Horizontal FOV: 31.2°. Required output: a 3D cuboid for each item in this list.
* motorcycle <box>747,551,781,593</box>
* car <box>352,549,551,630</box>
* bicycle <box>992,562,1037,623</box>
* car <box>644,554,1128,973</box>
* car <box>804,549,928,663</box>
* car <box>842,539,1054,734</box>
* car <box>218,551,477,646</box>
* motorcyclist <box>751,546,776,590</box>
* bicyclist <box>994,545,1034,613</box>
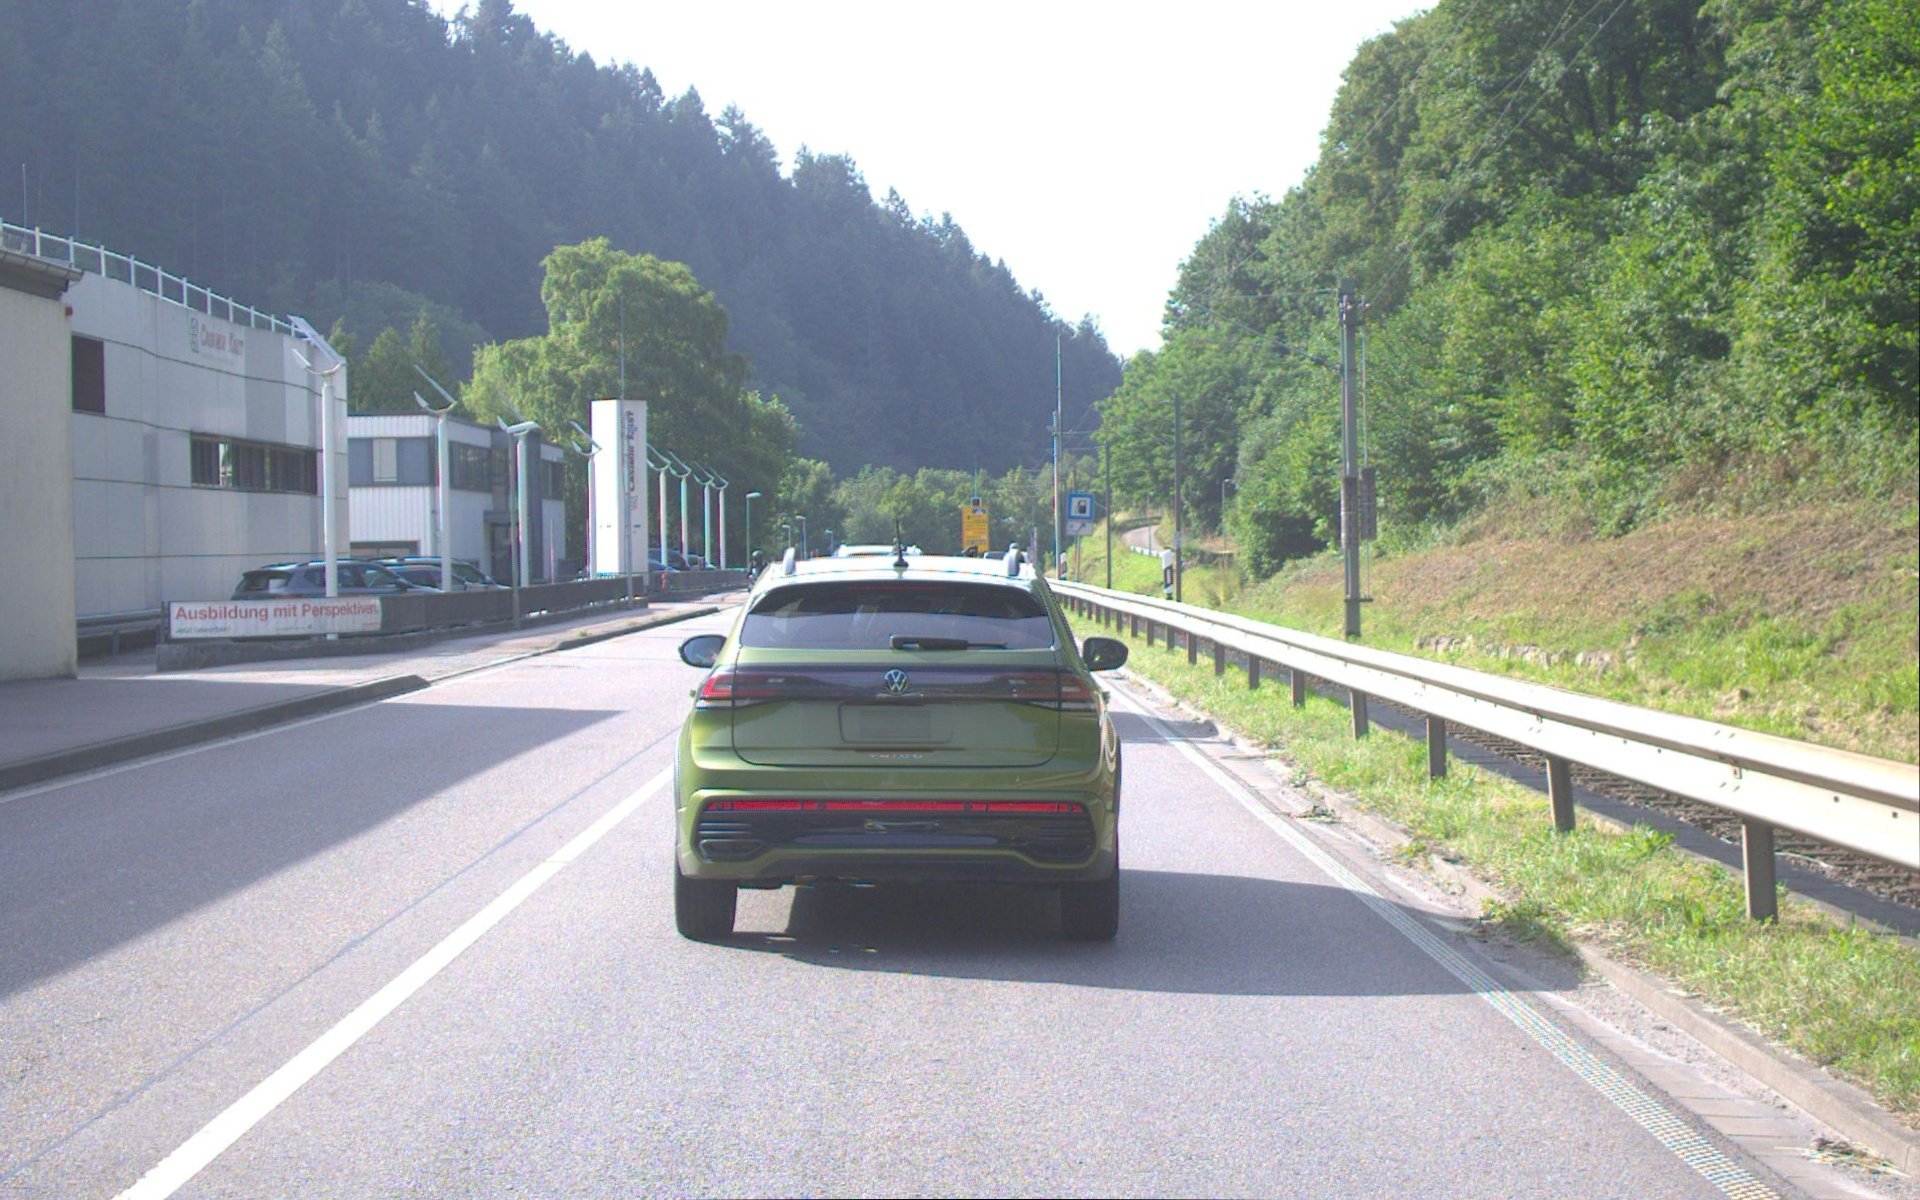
[{"bbox_3d":[-4.997,-0.727,87.705,0.741,1.065,2.492,0,1,0],"label":"motorcycle"},{"bbox_3d":[-11.050,-0.252,74.945,1.780,1.702,4.100,1,1,42],"label":"car"},{"bbox_3d":[1.128,-0.161,71.659,0.811,1.246,2.123,0,1,-2],"label":"bicycle"},{"bbox_3d":[-0.310,0.564,14.376,1.739,1.503,4.000,0,1,-1],"label":"car"},{"bbox_3d":[-1.373,0.060,50.598,1.739,1.596,4.000,0,1,-1],"label":"car"},{"bbox_3d":[-0.140,0.277,30.346,1.739,1.596,4.000,0,1,-1],"label":"car"},{"bbox_3d":[-10.641,-0.052,59.916,1.887,1.586,4.165,1,1,42],"label":"car"},{"bbox_3d":[-5.033,-0.819,88.060,0.586,1.121,0.636,0,1,0],"label":"motorcyclist"},{"bbox_3d":[1.124,-0.439,71.770,0.781,1.407,0.675,0,1,-2],"label":"bicyclist"}]
